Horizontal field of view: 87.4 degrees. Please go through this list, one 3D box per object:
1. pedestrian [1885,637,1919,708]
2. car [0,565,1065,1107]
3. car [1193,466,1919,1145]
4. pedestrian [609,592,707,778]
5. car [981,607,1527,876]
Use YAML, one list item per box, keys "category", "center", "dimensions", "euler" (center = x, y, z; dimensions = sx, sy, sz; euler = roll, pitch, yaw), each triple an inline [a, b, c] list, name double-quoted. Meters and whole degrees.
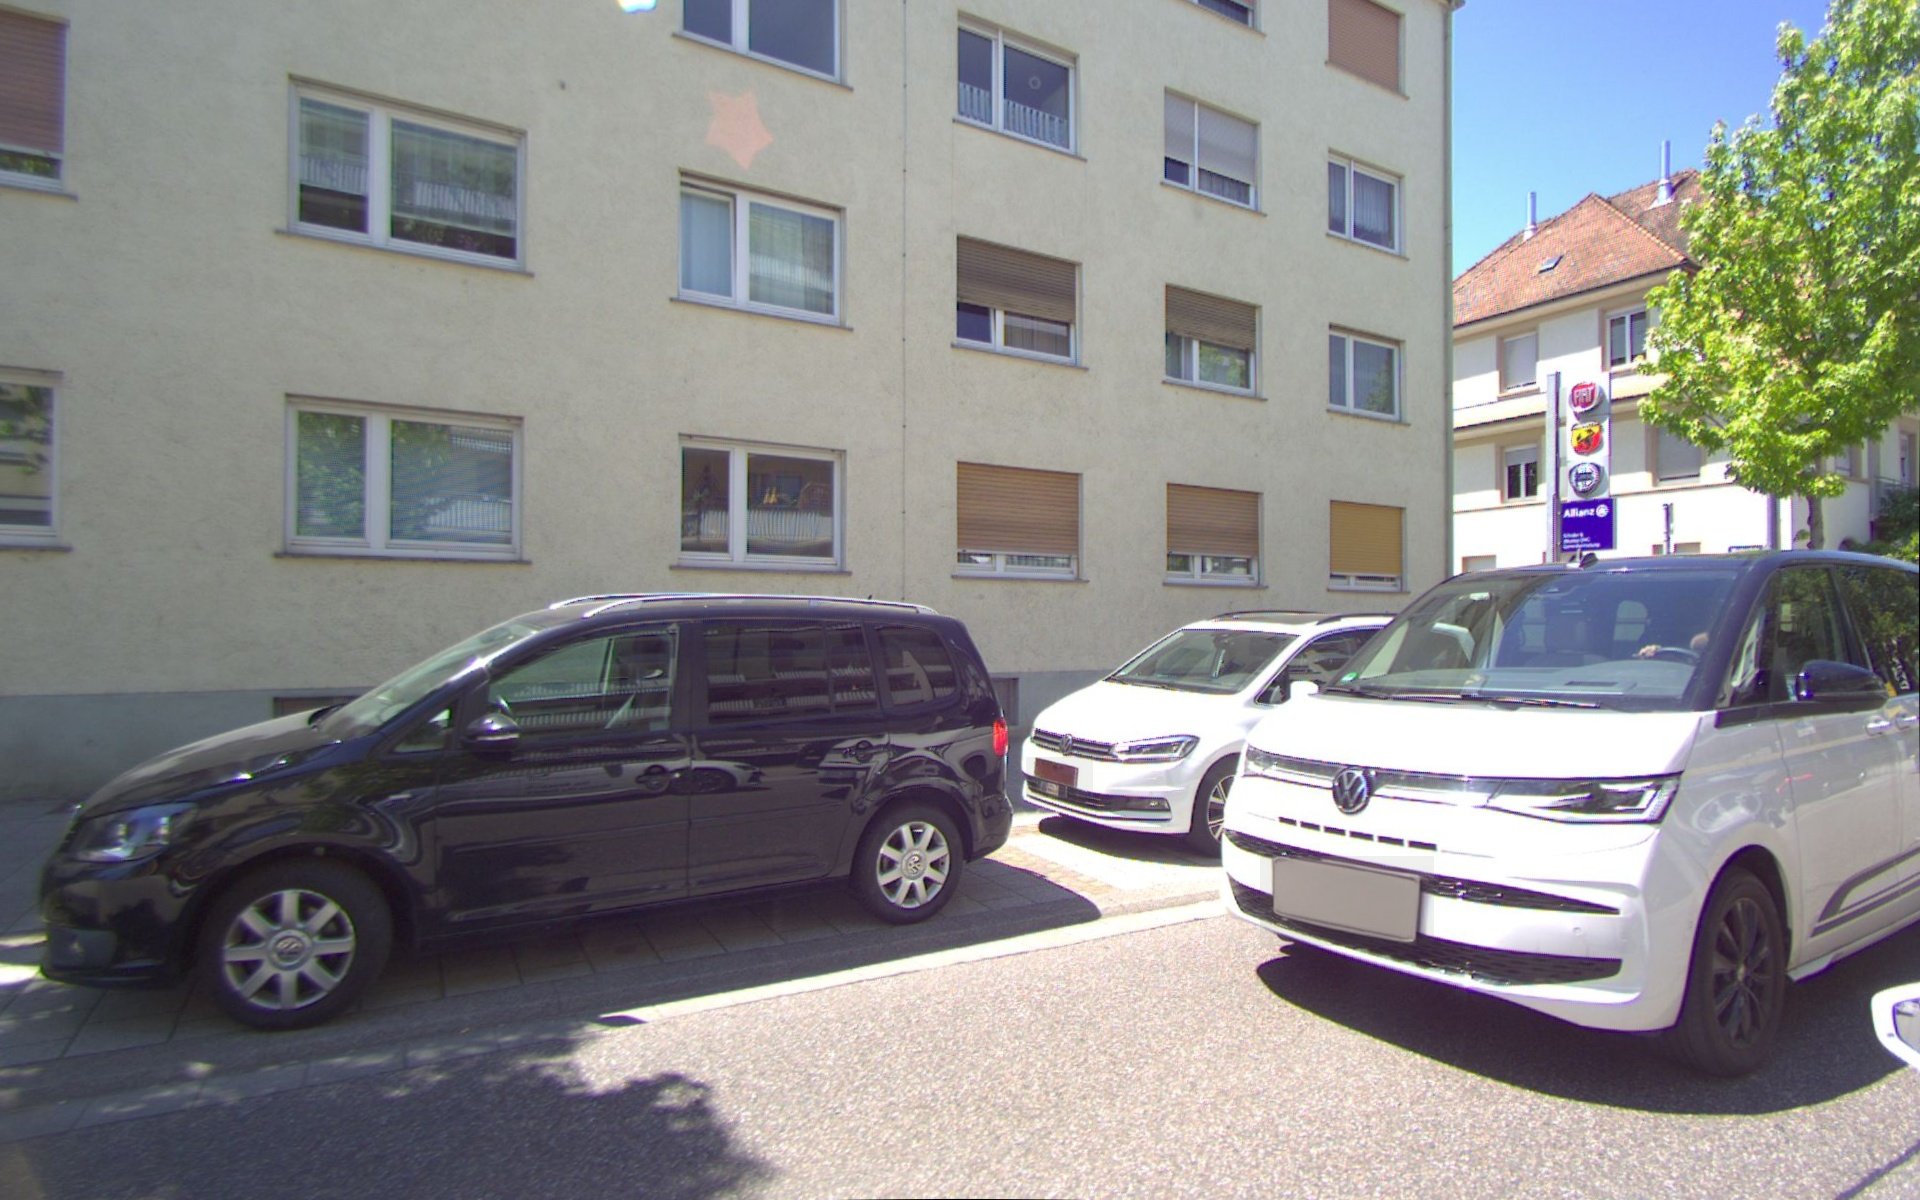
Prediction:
- category: "pedestrian"
  center: [21.385, 1.620, 22.559]
  dimensions: [0.586, 1.550, 0.695]
  euler: [-2, -2, 16]
- category: "car"
  center: [-1.732, 0.792, 5.128]
  dimensions: [4.343, 1.764, 1.719]
  euler: [1, 1, -32]
- category: "car"
  center: [3.583, 0.697, 5.040]
  dimensions: [4.853, 1.947, 1.896]
  euler: [2, -3, -33]
- category: "pedestrian"
  center: [-2.919, 0.795, 9.694]
  dimensions: [0.649, 1.702, 0.628]
  euler: [-3, -2, 42]
- category: "car"
  center: [2.476, 0.916, 8.120]
  dimensions: [4.343, 1.641, 1.814]
  euler: [1, 0, -32]
